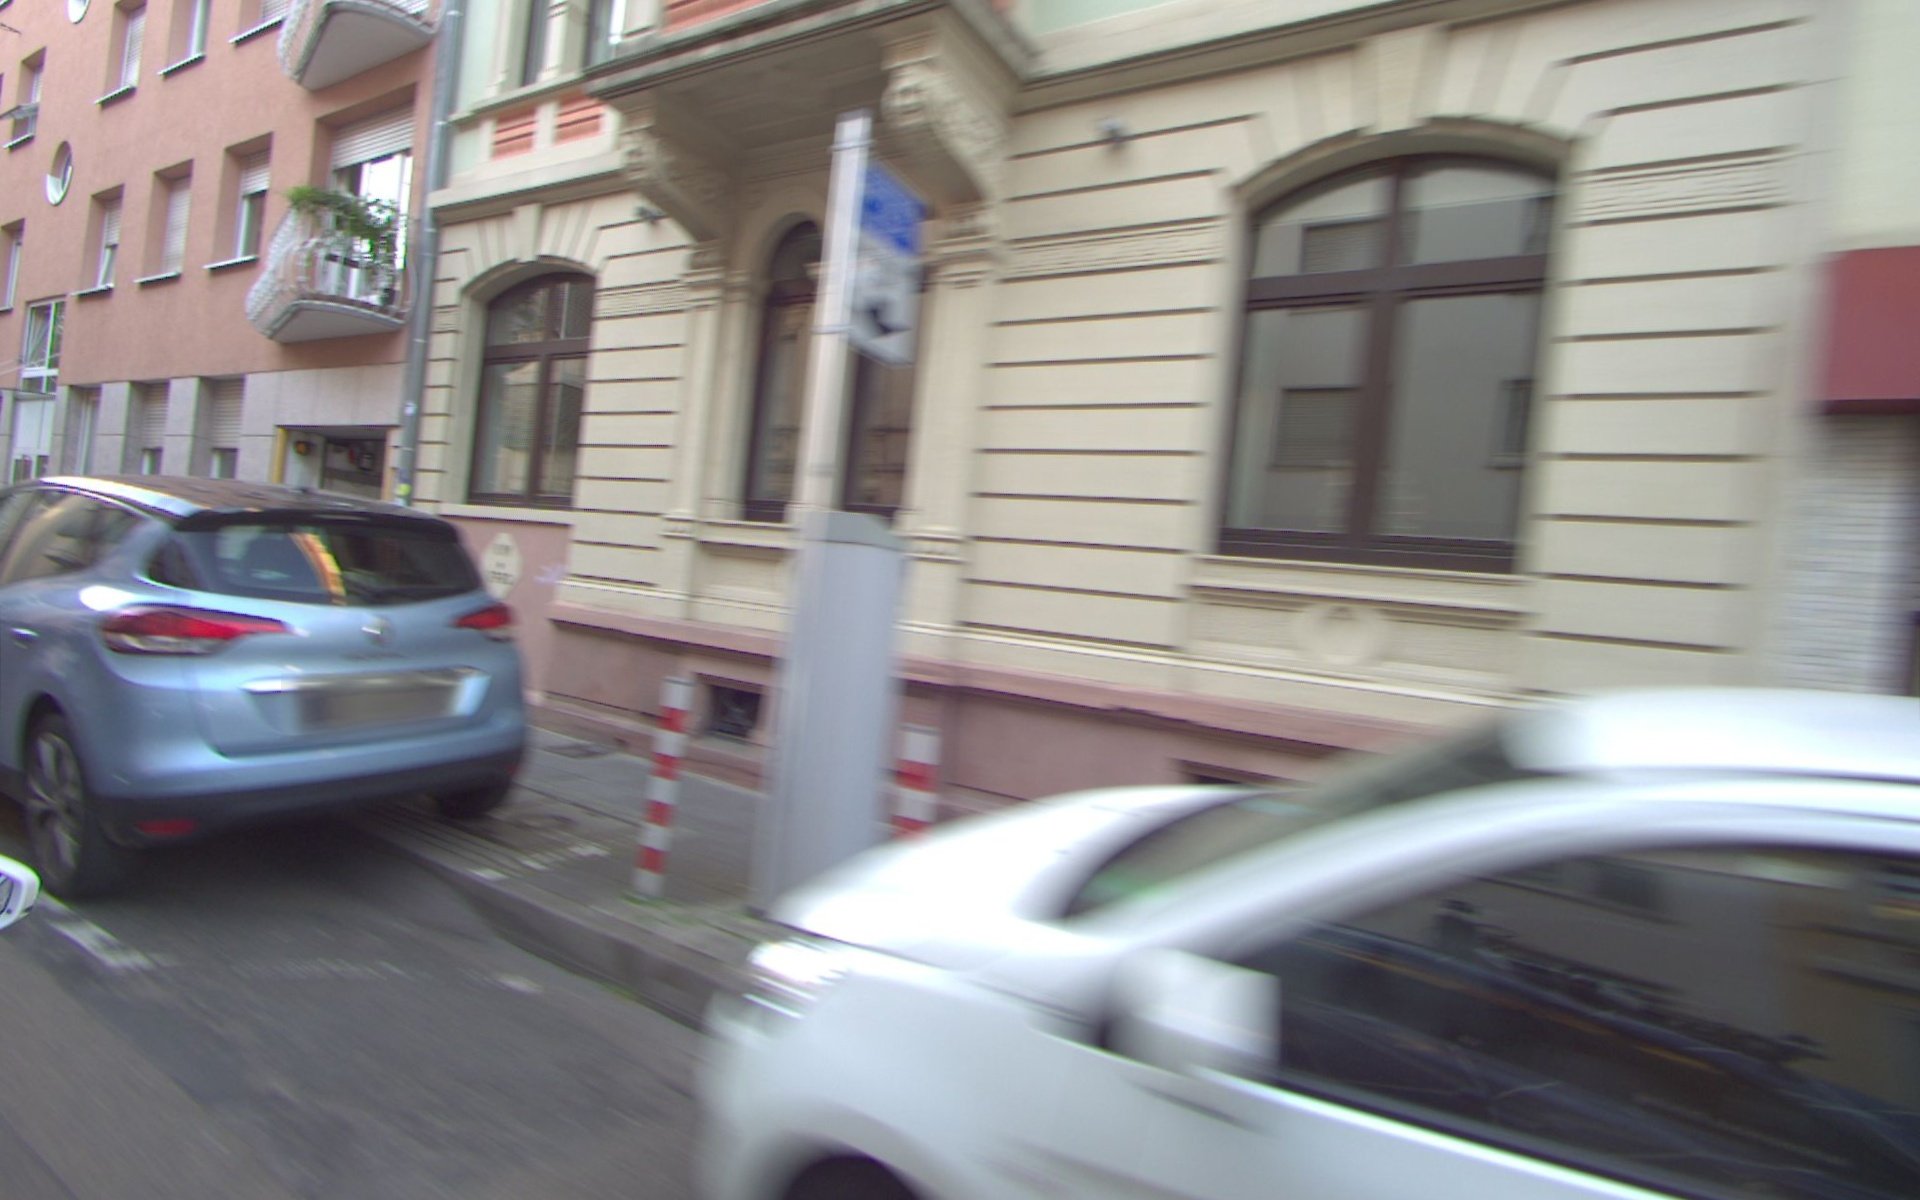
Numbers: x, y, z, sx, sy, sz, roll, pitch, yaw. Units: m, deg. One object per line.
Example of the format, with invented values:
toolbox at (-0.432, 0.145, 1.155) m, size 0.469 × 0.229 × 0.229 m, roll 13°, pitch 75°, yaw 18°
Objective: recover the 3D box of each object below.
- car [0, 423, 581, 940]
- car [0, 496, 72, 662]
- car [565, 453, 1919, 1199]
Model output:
car at (-4.061, 0.155, 5.213) m, size 4.042 × 1.762 × 1.692 m, roll 7°, pitch -1°, yaw 32°
car at (-10.572, -0.422, 9.830) m, size 4.064 × 1.475 × 1.692 m, roll 7°, pitch -1°, yaw 32°
car at (1.184, 0.739, 1.721) m, size 3.531 × 1.598 × 1.572 m, roll 7°, pitch -1°, yaw 32°
